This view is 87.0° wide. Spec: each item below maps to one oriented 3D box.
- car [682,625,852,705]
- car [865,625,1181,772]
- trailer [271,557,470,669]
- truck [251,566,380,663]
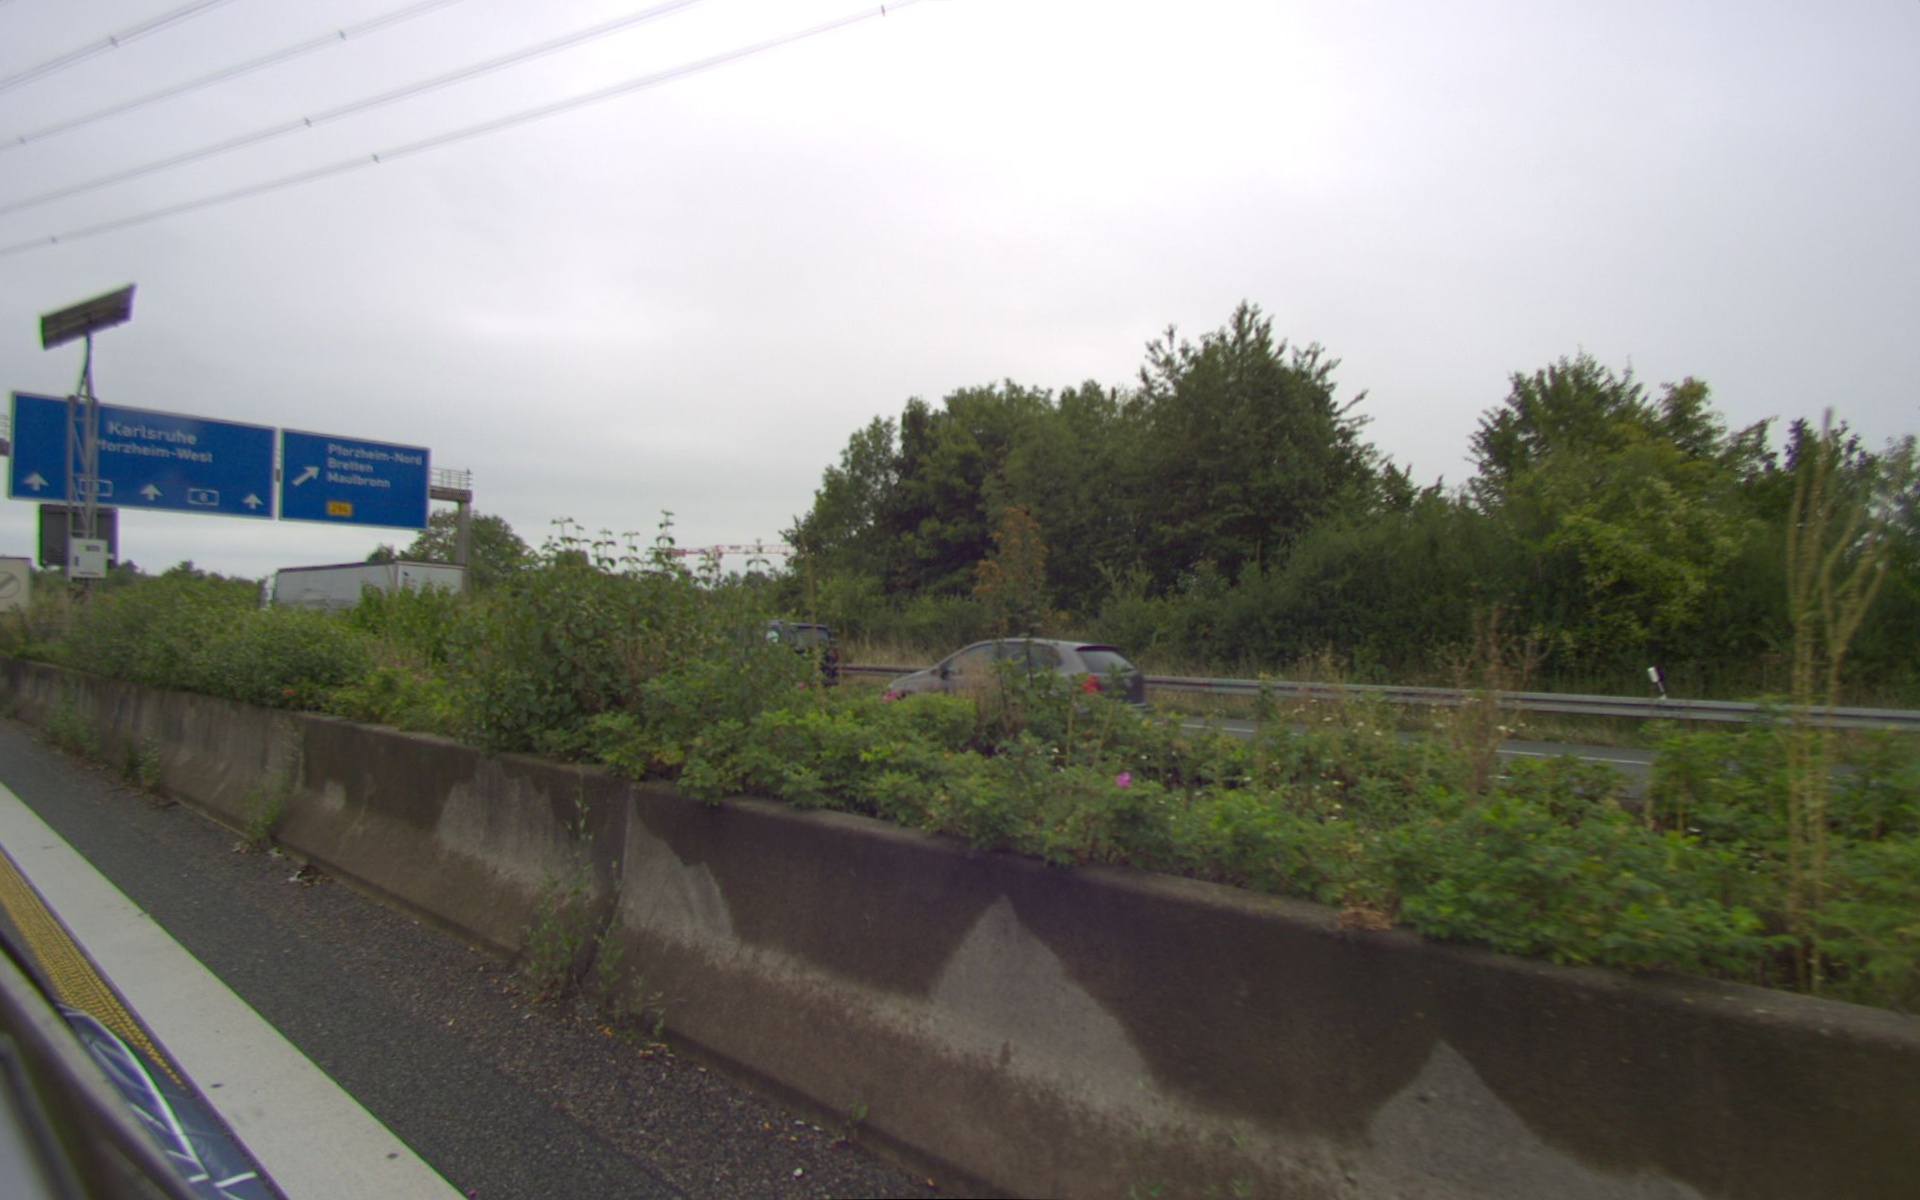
[{"bbox_3d":[-4.697,1.486,24.333,3.998,1.762,1.973,-1,-3,41],"label":"car"},{"bbox_3d":[0.725,1.161,13.380,3.998,1.575,1.671,-1,0,41],"label":"car"},{"bbox_3d":[-24.779,0.646,42.042,13.242,4.054,2.757,-1,-4,41],"label":"trailer"},{"bbox_3d":[-29.280,0.722,45.868,7.228,4.054,2.757,-1,-4,40],"label":"truck"}]
